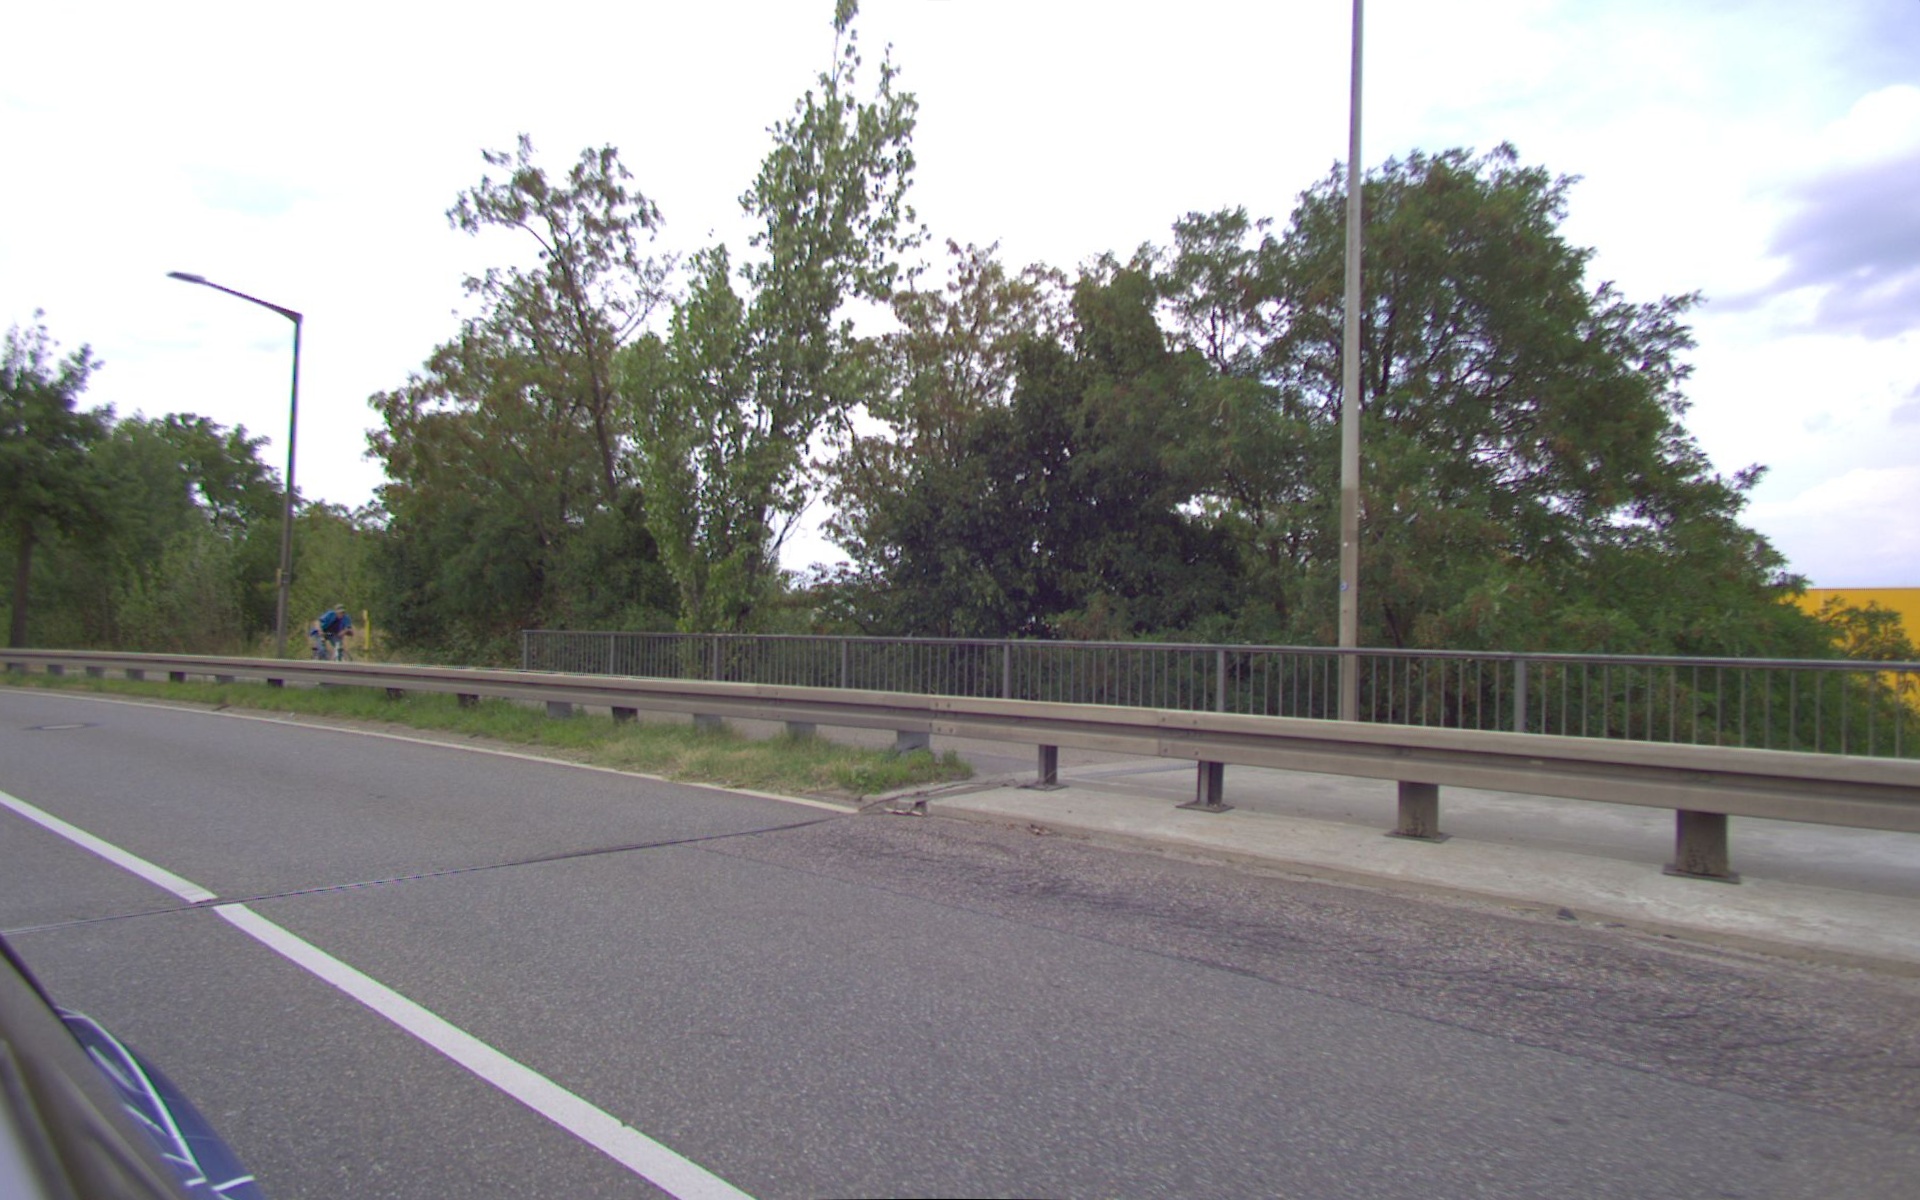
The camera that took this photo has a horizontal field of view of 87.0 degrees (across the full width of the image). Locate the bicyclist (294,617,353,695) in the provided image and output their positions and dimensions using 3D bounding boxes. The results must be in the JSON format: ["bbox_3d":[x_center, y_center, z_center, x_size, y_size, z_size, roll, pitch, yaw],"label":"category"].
[{"bbox_3d":[-12.233,1.058,19.459,0.745,1.455,0.705,-1,-1,32],"label":"bicyclist"}]

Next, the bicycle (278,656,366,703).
[{"bbox_3d":[-12.298,1.512,19.496,1.886,0.804,0.686,-1,0,32],"label":"bicycle"}]
